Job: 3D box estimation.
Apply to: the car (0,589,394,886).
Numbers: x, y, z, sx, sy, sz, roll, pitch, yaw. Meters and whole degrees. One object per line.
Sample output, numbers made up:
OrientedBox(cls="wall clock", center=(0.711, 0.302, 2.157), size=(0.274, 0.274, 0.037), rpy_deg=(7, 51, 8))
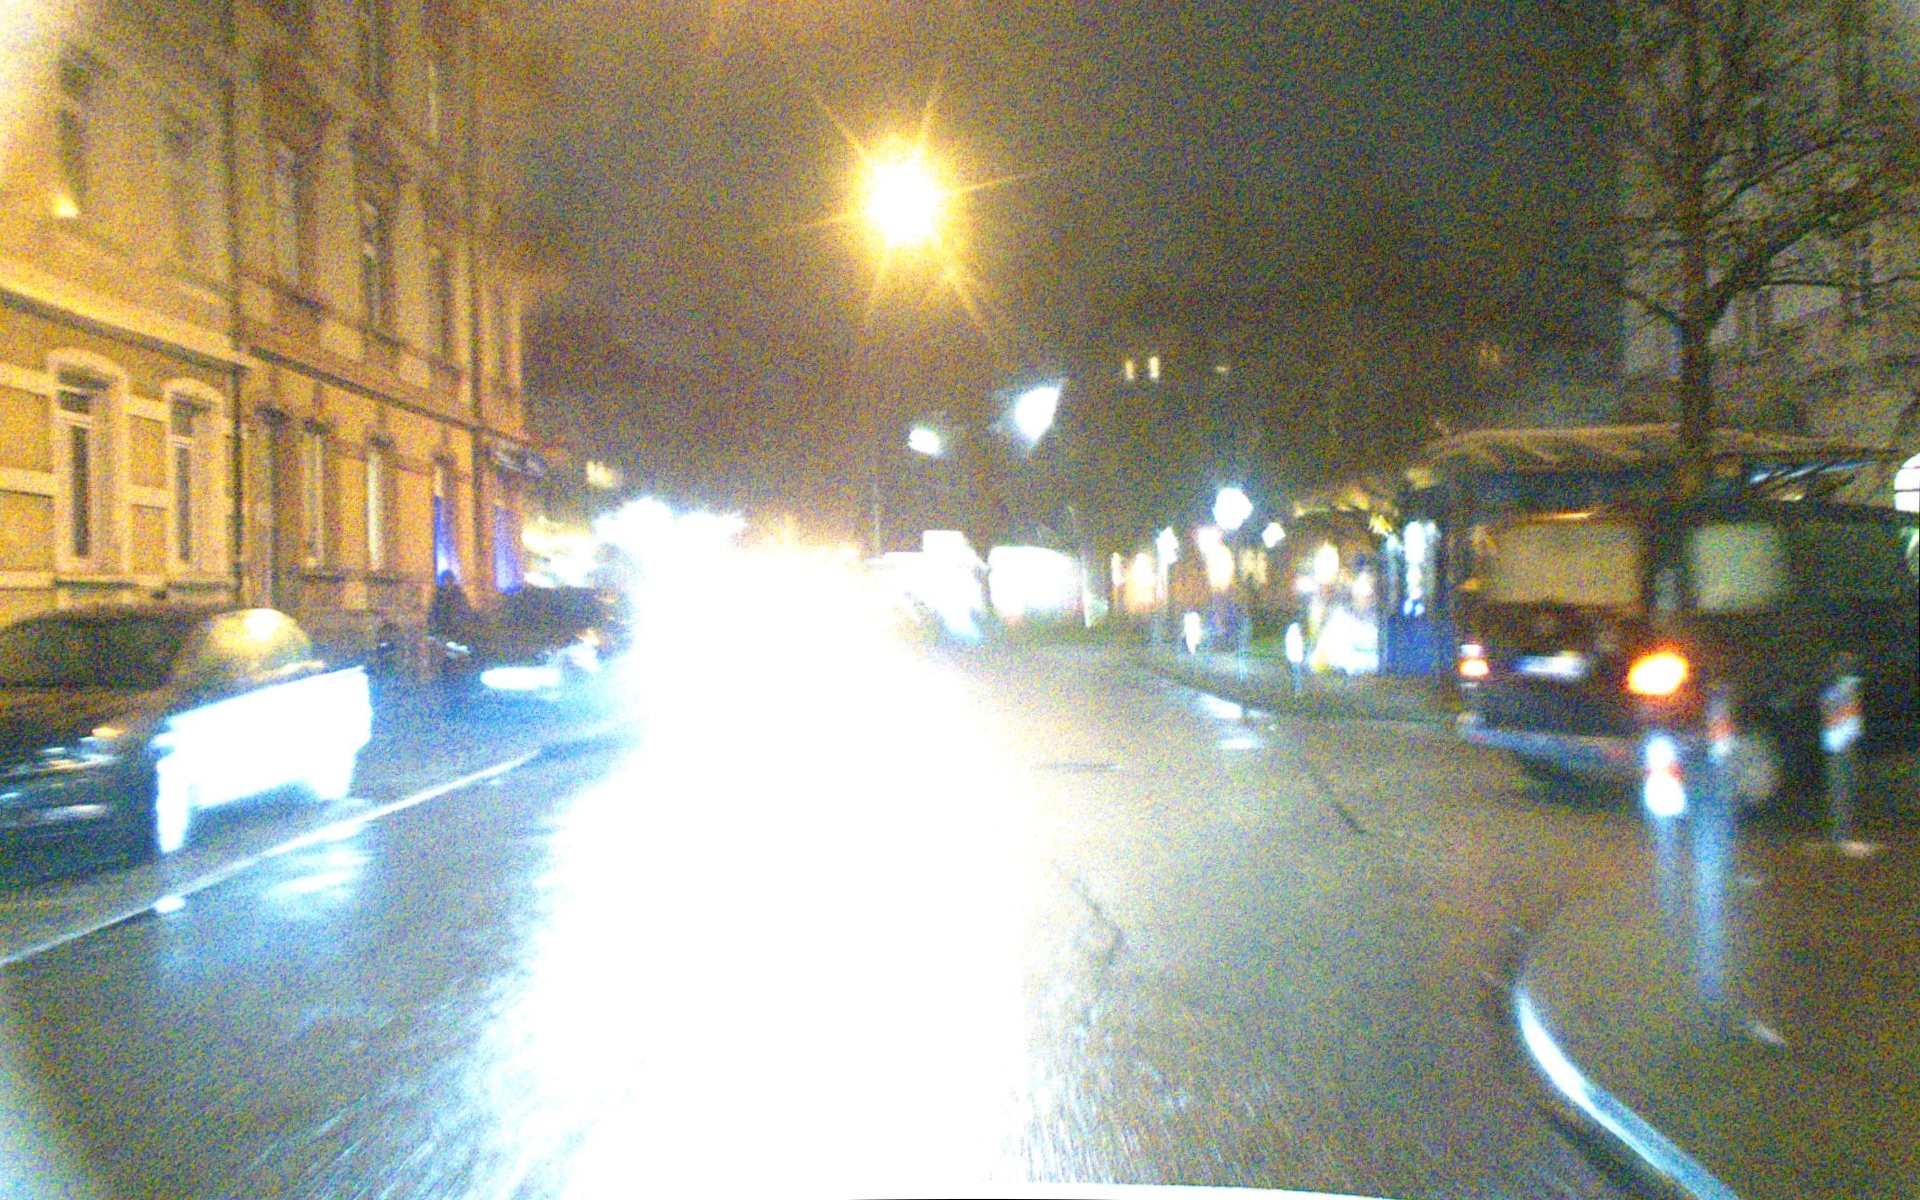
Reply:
OrientedBox(cls="car", center=(-5.364, 0.707, 10.760), size=(1.795, 1.512, 4.594), rpy_deg=(-1, 0, 0))

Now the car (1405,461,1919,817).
OrientedBox(cls="car", center=(5.567, 0.200, 11.716), size=(4.628, 2.084, 1.983), rpy_deg=(-1, 0, -30))

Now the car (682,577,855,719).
OrientedBox(cls="car", center=(-2.477, 0.572, 22.484), size=(1.882, 1.646, 4.573), rpy_deg=(-3, 0, -2))

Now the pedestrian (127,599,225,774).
OrientedBox(cls="pedestrian", center=(-7.265, 0.791, 15.359), size=(0.645, 1.579, 0.760), rpy_deg=(2, -1, -15))

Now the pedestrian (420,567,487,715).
OrientedBox(cls="pedestrian", center=(-7.020, 0.562, 22.940), size=(0.642, 2.008, 0.770), rpy_deg=(1, -1, 0))

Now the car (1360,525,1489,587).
OrientedBox(cls="car", center=(13.536, -1.263, 48.160), size=(3.412, 1.642, 1.720), rpy_deg=(2, -1, -29))

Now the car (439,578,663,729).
OrientedBox(cls="car", center=(-5.196, 0.619, 21.647), size=(1.795, 1.747, 4.594), rpy_deg=(-1, 0, 0))
